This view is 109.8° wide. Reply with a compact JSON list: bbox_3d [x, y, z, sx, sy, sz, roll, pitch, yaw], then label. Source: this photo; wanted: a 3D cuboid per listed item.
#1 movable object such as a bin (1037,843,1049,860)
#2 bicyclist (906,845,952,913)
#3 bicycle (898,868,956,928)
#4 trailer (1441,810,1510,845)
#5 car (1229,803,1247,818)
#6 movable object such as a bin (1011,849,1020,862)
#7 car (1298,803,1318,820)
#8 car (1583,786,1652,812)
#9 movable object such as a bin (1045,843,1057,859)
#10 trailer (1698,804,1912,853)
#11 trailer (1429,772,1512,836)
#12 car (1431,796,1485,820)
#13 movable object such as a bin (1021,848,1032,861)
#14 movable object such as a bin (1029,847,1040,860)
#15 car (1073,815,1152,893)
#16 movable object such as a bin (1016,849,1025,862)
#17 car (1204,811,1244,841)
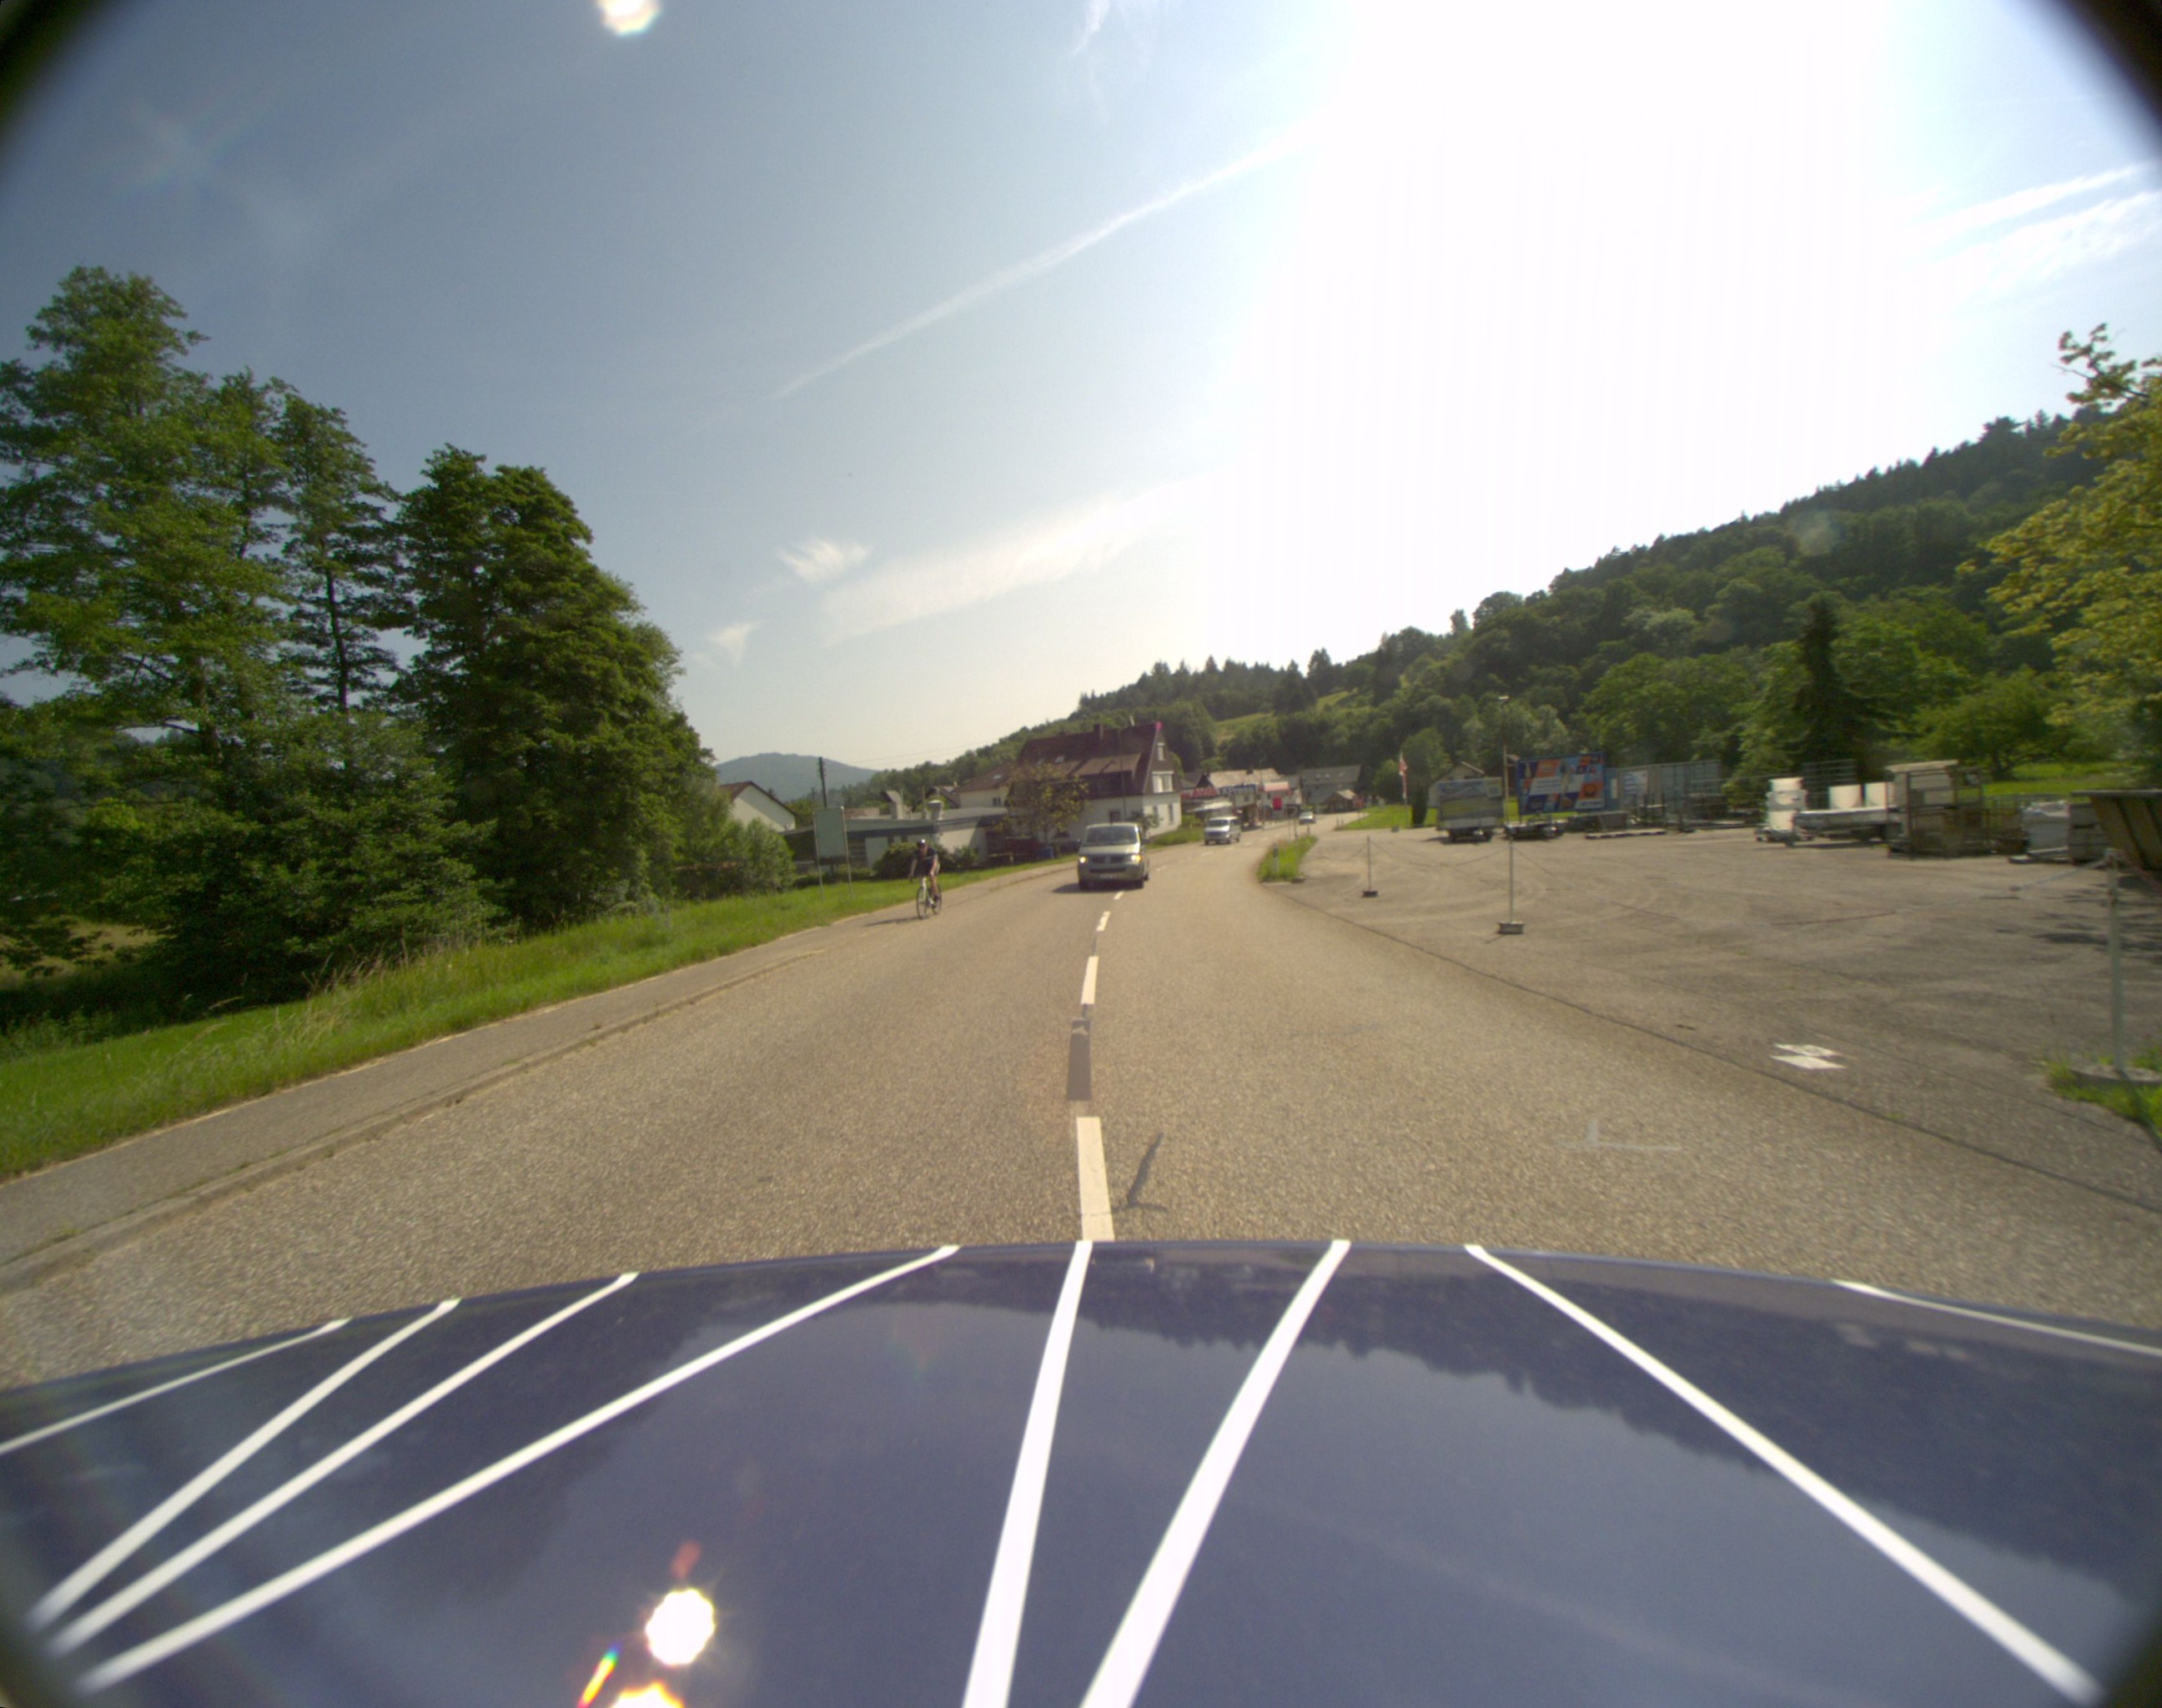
[{"bbox_3d":[-2.825,-0.191,56.829,0.569,1.113,0.799,-5,4,15],"label":"movable object such as a bin"},{"bbox_3d":[-3.147,0.498,15.803,0.580,1.335,1.145,-1,3,6],"label":"bicyclist"},{"bbox_3d":[-3.149,0.874,15.711,0.580,1.029,1.990,-1,3,6],"label":"bicycle"},{"bbox_3d":[18.077,-1.287,35.039,1.996,1.220,5.550,-5,3,20],"label":"trailer"},{"bbox_3d":[23.234,-6.447,112.376,1.682,1.806,4.003,-5,4,24],"label":"car"},{"bbox_3d":[-4.965,0.123,57.402,0.419,0.895,0.586,-5,4,15],"label":"movable object such as a bin"},{"bbox_3d":[27.717,-5.160,92.666,1.764,1.737,3.983,-4,5,24],"label":"car"},{"bbox_3d":[38.421,-3.948,54.397,3.923,1.477,1.920,-3,3,37],"label":"car"},{"bbox_3d":[-2.253,-0.246,56.684,0.569,1.113,0.793,-5,4,15],"label":"movable object such as a bin"},{"bbox_3d":[20.144,-0.718,21.370,3.937,0.934,1.869,-5,4,22],"label":"trailer"},{"bbox_3d":[20.156,-2.568,39.455,3.396,2.896,1.885,-5,3,17],"label":"trailer"},{"bbox_3d":[30.313,-3.704,61.002,4.915,1.640,1.831,-6,3,-38],"label":"car"},{"bbox_3d":[-4.070,0.039,57.146,0.569,0.895,0.586,-5,4,15],"label":"movable object such as a bin"},{"bbox_3d":[-3.501,-0.016,57.001,0.569,0.895,0.586,-5,4,15],"label":"movable object such as a bin"},{"bbox_3d":[1.103,-0.117,23.492,2.023,1.972,5.047,-1,5,7],"label":"car"},{"bbox_3d":[-4.550,0.084,57.285,0.419,0.895,0.586,-5,4,15],"label":"movable object such as a bin"},{"bbox_3d":[10.490,-2.070,55.509,1.893,1.847,4.707,-3,3,22],"label":"car"}]
